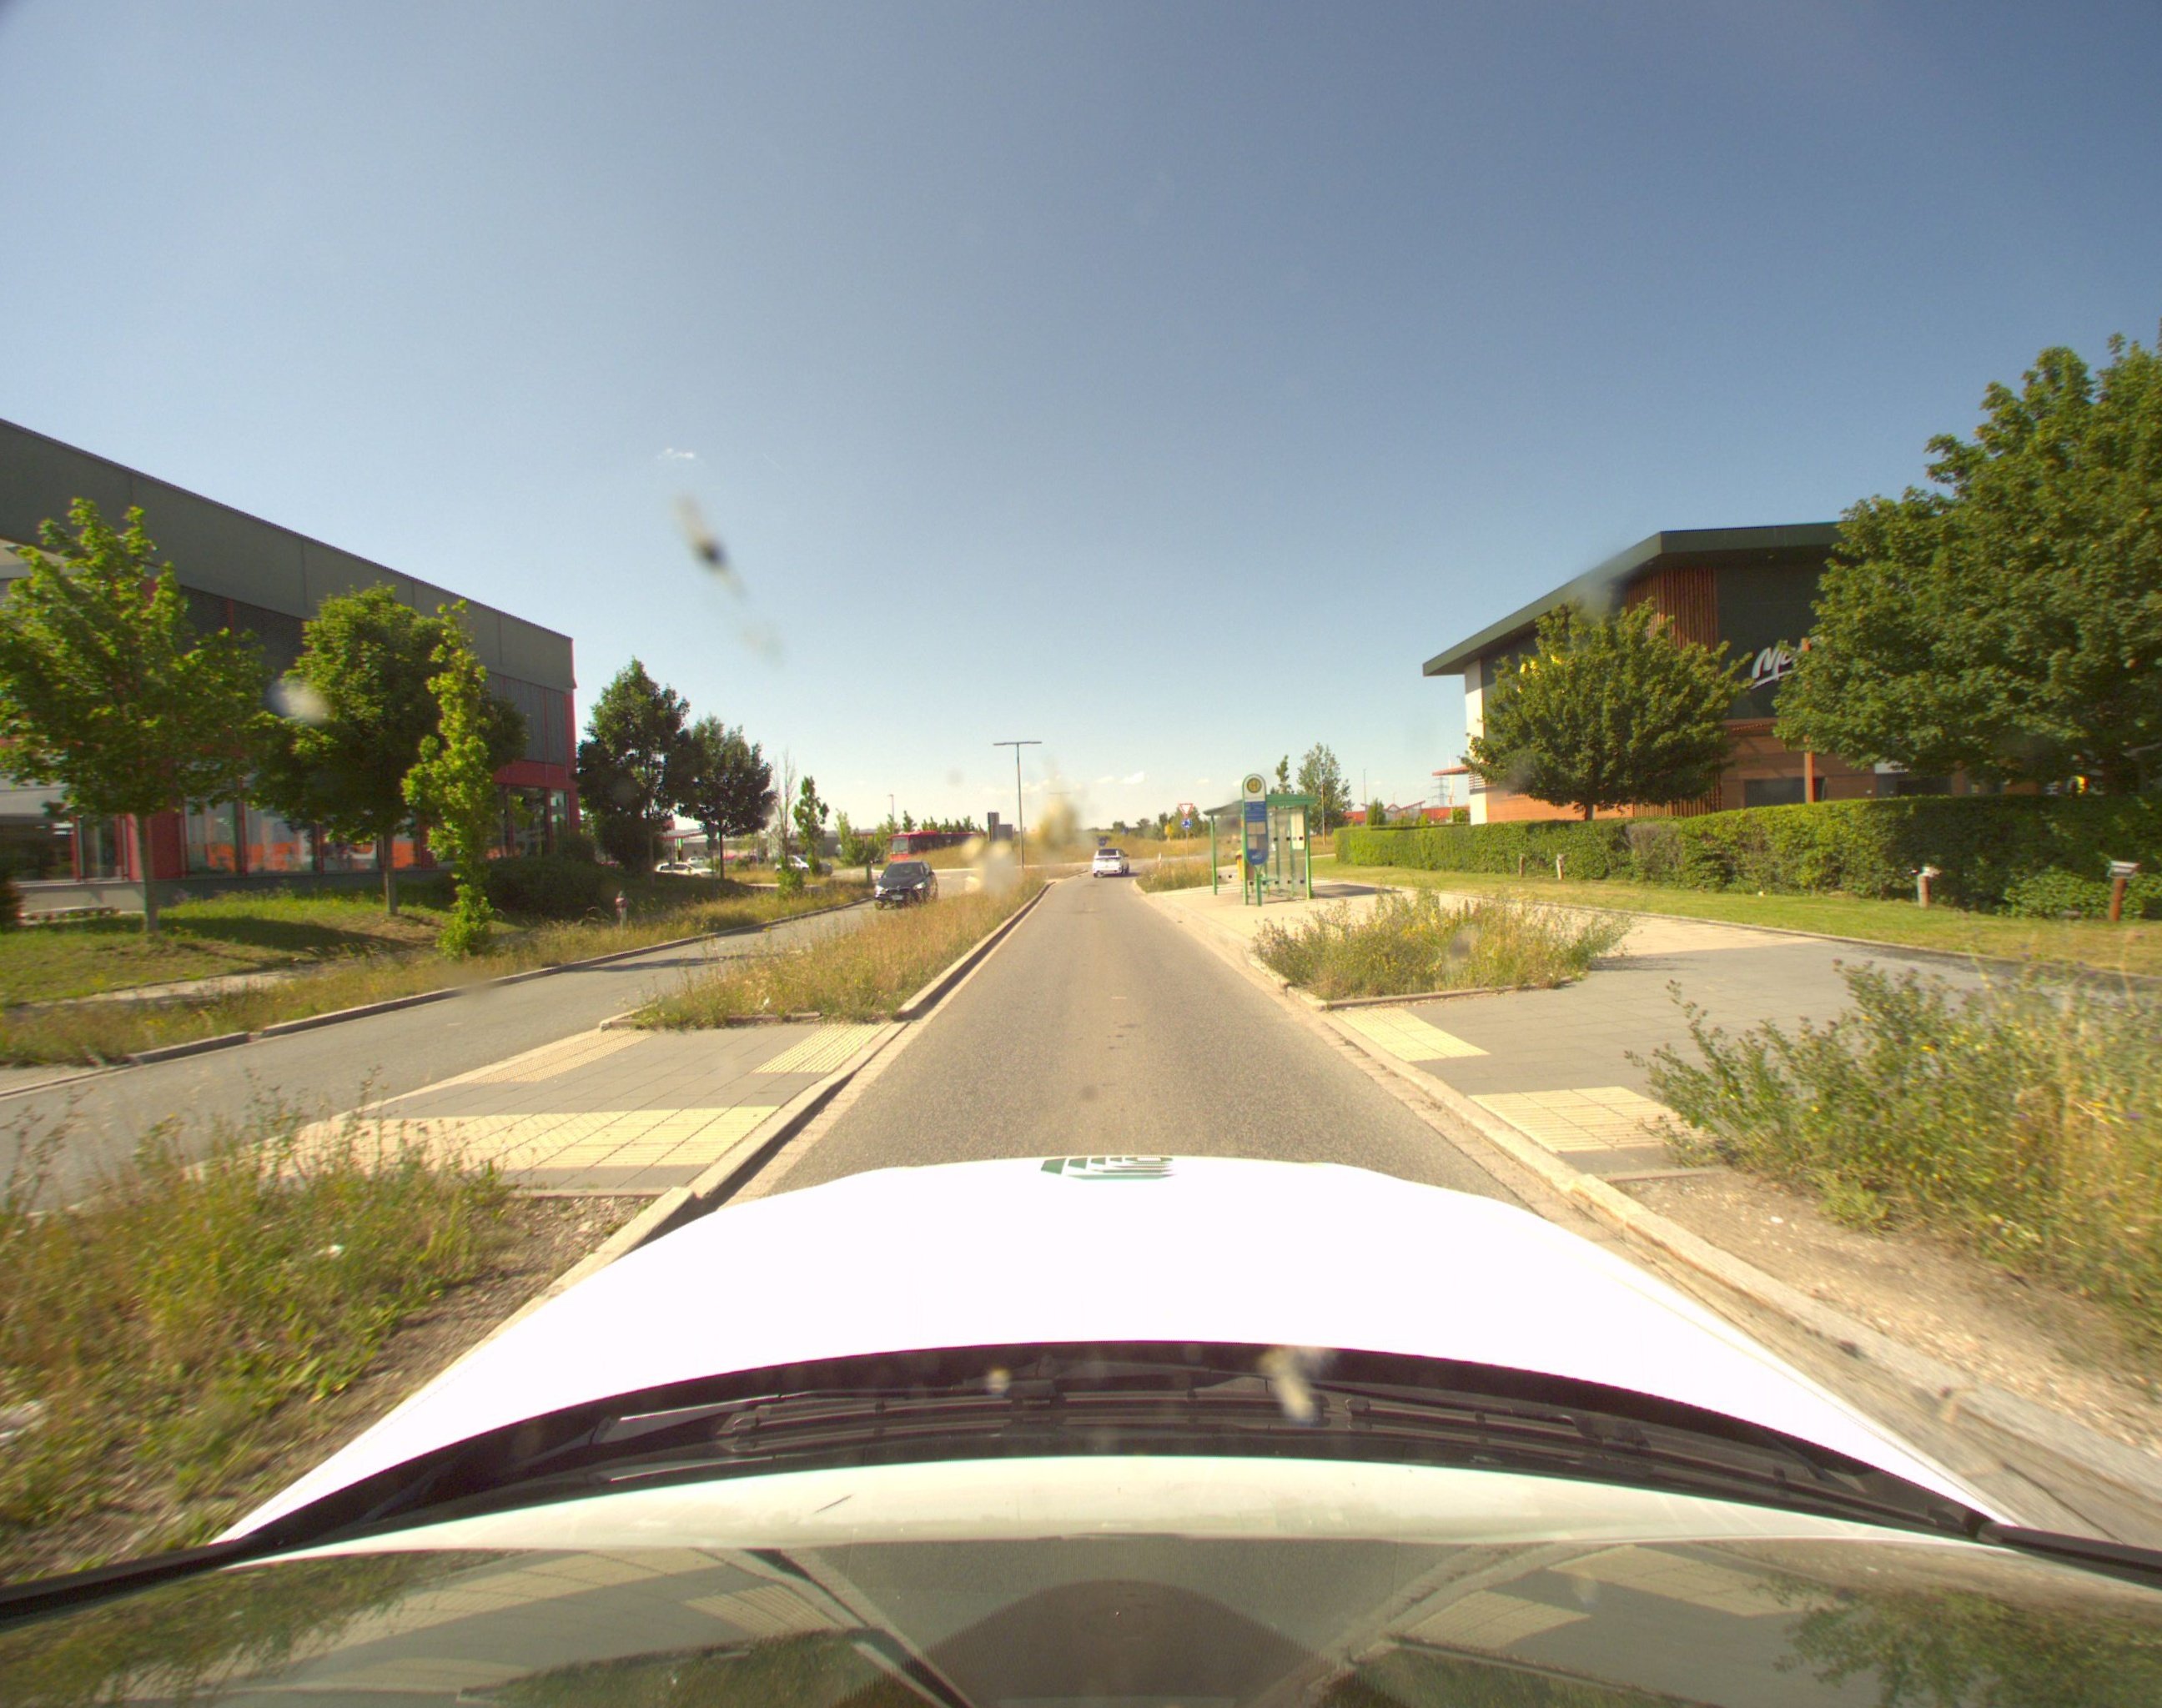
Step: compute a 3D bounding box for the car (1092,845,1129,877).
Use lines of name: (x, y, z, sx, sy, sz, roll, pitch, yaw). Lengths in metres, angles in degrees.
car: (1.598, 0.344, 42.730, 1.608, 1.434, 3.800, -2, 2, 6)

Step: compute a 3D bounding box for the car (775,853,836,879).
car: (-19.078, 0.831, 56.290, 4.565, 1.626, 1.976, -1, 2, 42)

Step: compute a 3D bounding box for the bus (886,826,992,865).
bus: (-13.743, -0.923, 80.509, 2.760, 3.078, 12.283, -3, 2, 32)

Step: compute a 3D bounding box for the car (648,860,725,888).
car: (-28.983, 1.446, 59.916, 4.561, 1.665, 1.846, -4, 1, -1)

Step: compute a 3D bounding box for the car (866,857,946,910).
car: (-6.033, 0.968, 28.488, 1.753, 1.543, 4.240, -4, 0, 0)
